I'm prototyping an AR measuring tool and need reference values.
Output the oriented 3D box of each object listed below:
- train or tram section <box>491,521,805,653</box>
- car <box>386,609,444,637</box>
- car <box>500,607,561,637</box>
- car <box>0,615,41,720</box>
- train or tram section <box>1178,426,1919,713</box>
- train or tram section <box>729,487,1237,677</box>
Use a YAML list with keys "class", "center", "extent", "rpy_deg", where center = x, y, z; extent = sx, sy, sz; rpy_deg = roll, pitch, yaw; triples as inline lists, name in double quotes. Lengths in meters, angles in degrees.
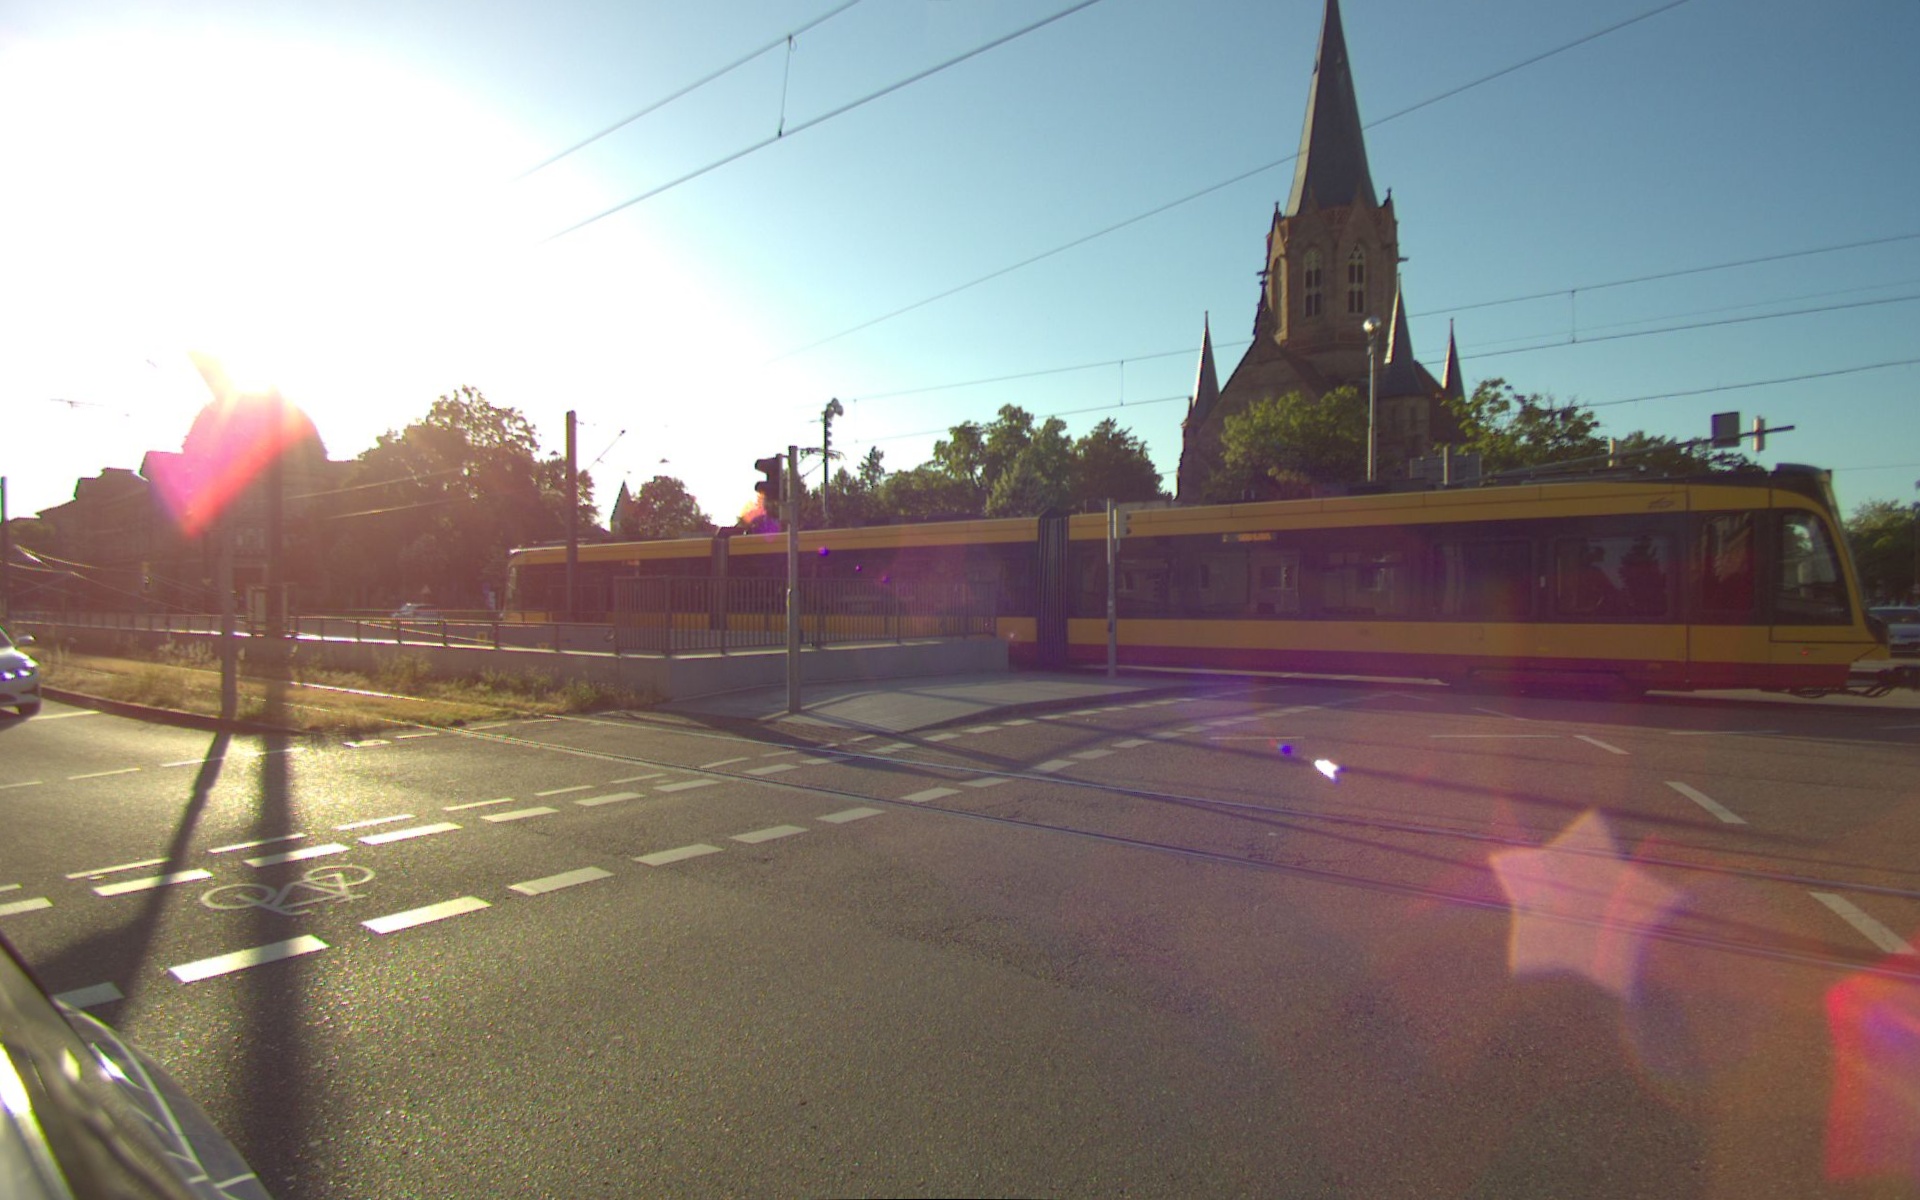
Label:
- class: "train or tram section"
  center: [-10.535, -0.319, 32.619]
  extent: [13.237, 3.562, 2.746]
  rpy_deg: [-1, 0, 39]
- class: "car"
  center: [-31.609, 1.287, 58.680]
  extent: [3.670, 1.552, 1.693]
  rpy_deg: [-1, 0, 40]
- class: "car"
  center: [-25.570, 1.267, 60.231]
  extent: [4.086, 1.707, 1.693]
  rpy_deg: [-1, 0, 40]
- class: "car"
  center: [-15.322, 0.986, 15.040]
  extent: [4.580, 1.411, 1.819]
  rpy_deg: [-1, 3, 40]
- class: "train or tram section"
  center: [9.055, -0.357, 16.711]
  extent: [10.559, 3.562, 2.746]
  rpy_deg: [-1, 0, 39]
- class: "train or tram section"
  center: [-0.225, -0.295, 24.234]
  extent: [13.237, 3.562, 2.746]
  rpy_deg: [-1, 0, 39]
